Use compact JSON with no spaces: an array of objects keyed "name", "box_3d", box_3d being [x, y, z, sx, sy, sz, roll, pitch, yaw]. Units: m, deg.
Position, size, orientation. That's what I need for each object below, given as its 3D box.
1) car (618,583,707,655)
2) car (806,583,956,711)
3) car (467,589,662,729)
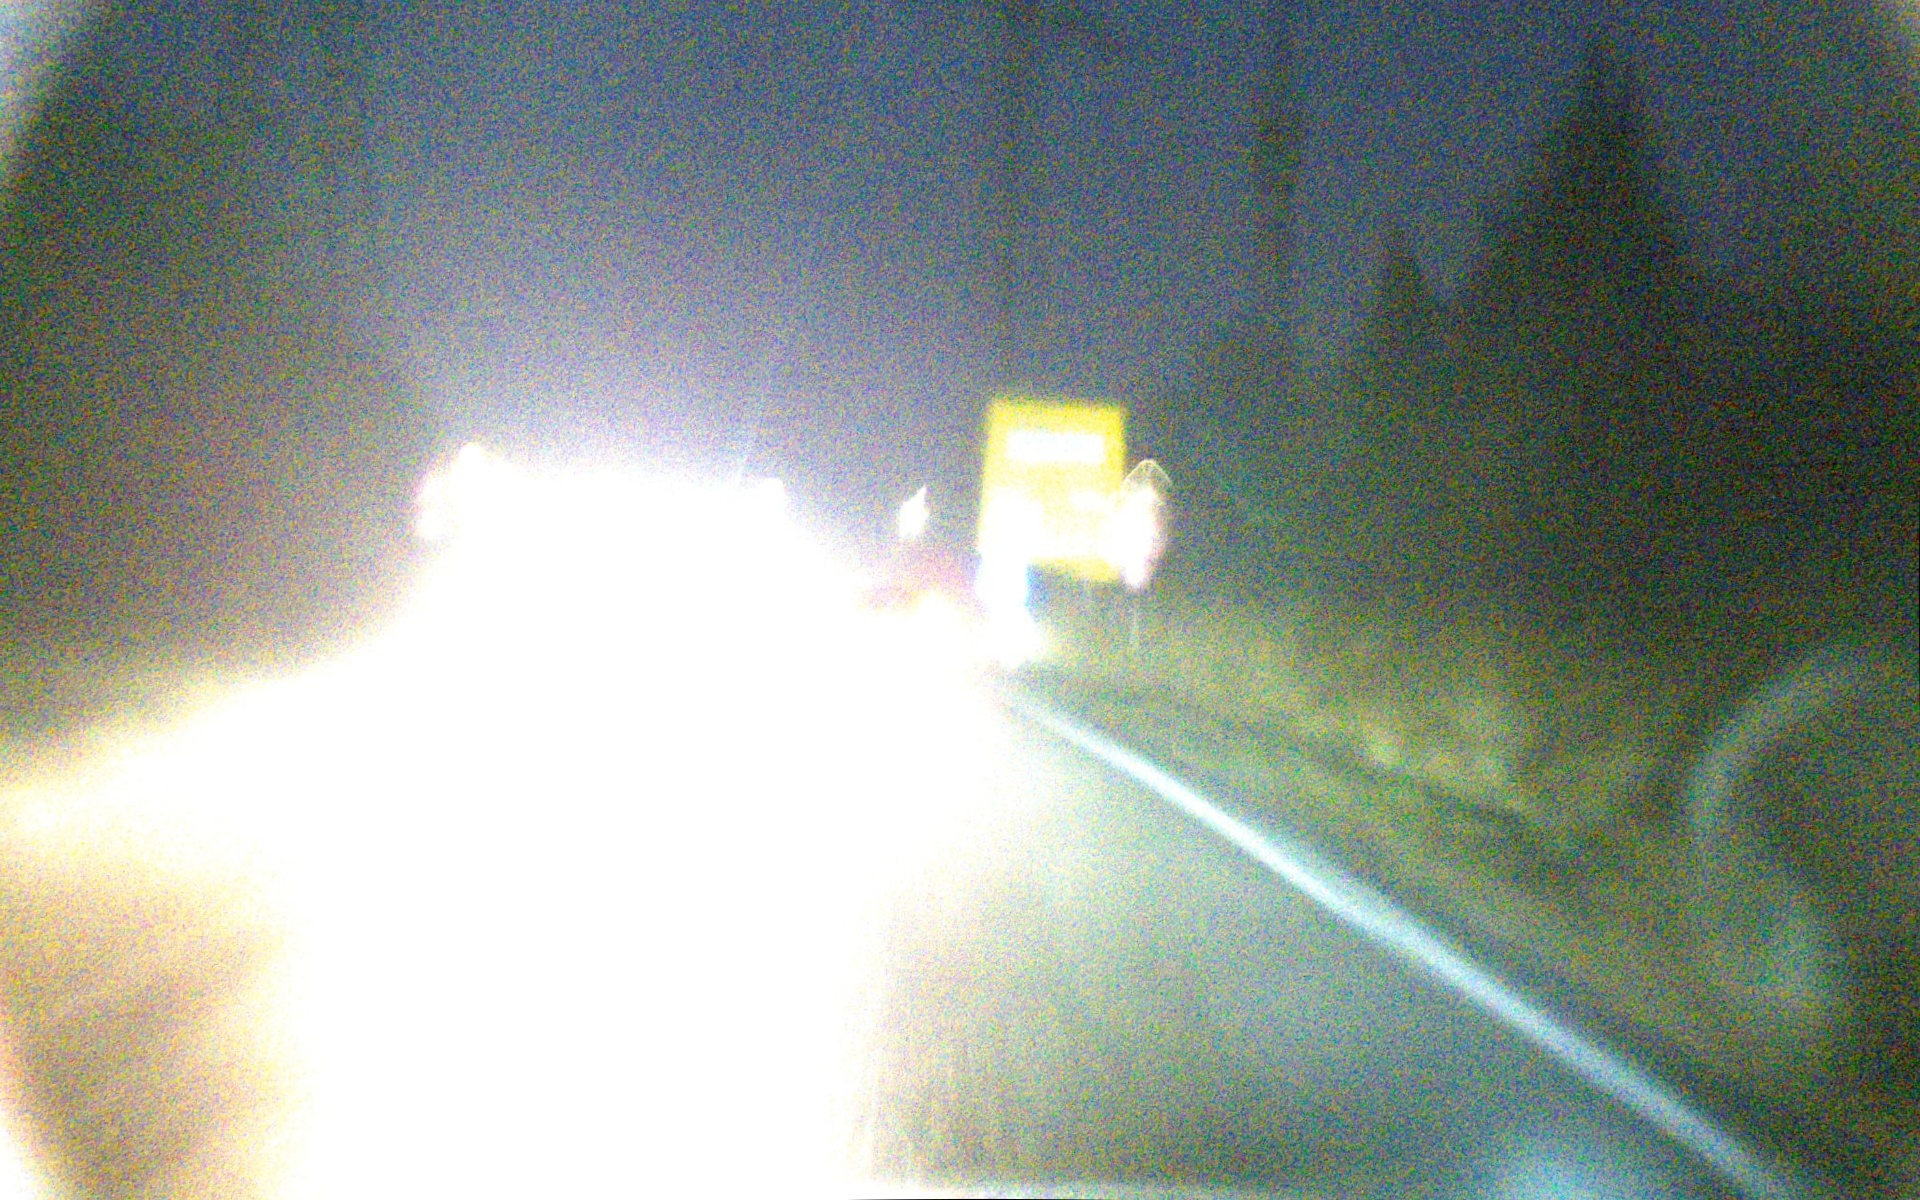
[{"name":"car","box_3d":[-6.248,0.365,34.869,1.739,1.413,4.103,1,0,-10]},{"name":"car","box_3d":[-1.190,0.607,24.298,1.954,1.656,4.981,1,0,-4]},{"name":"car","box_3d":[-4.676,0.633,20.109,1.737,1.509,4.375,1,0,-6]}]
